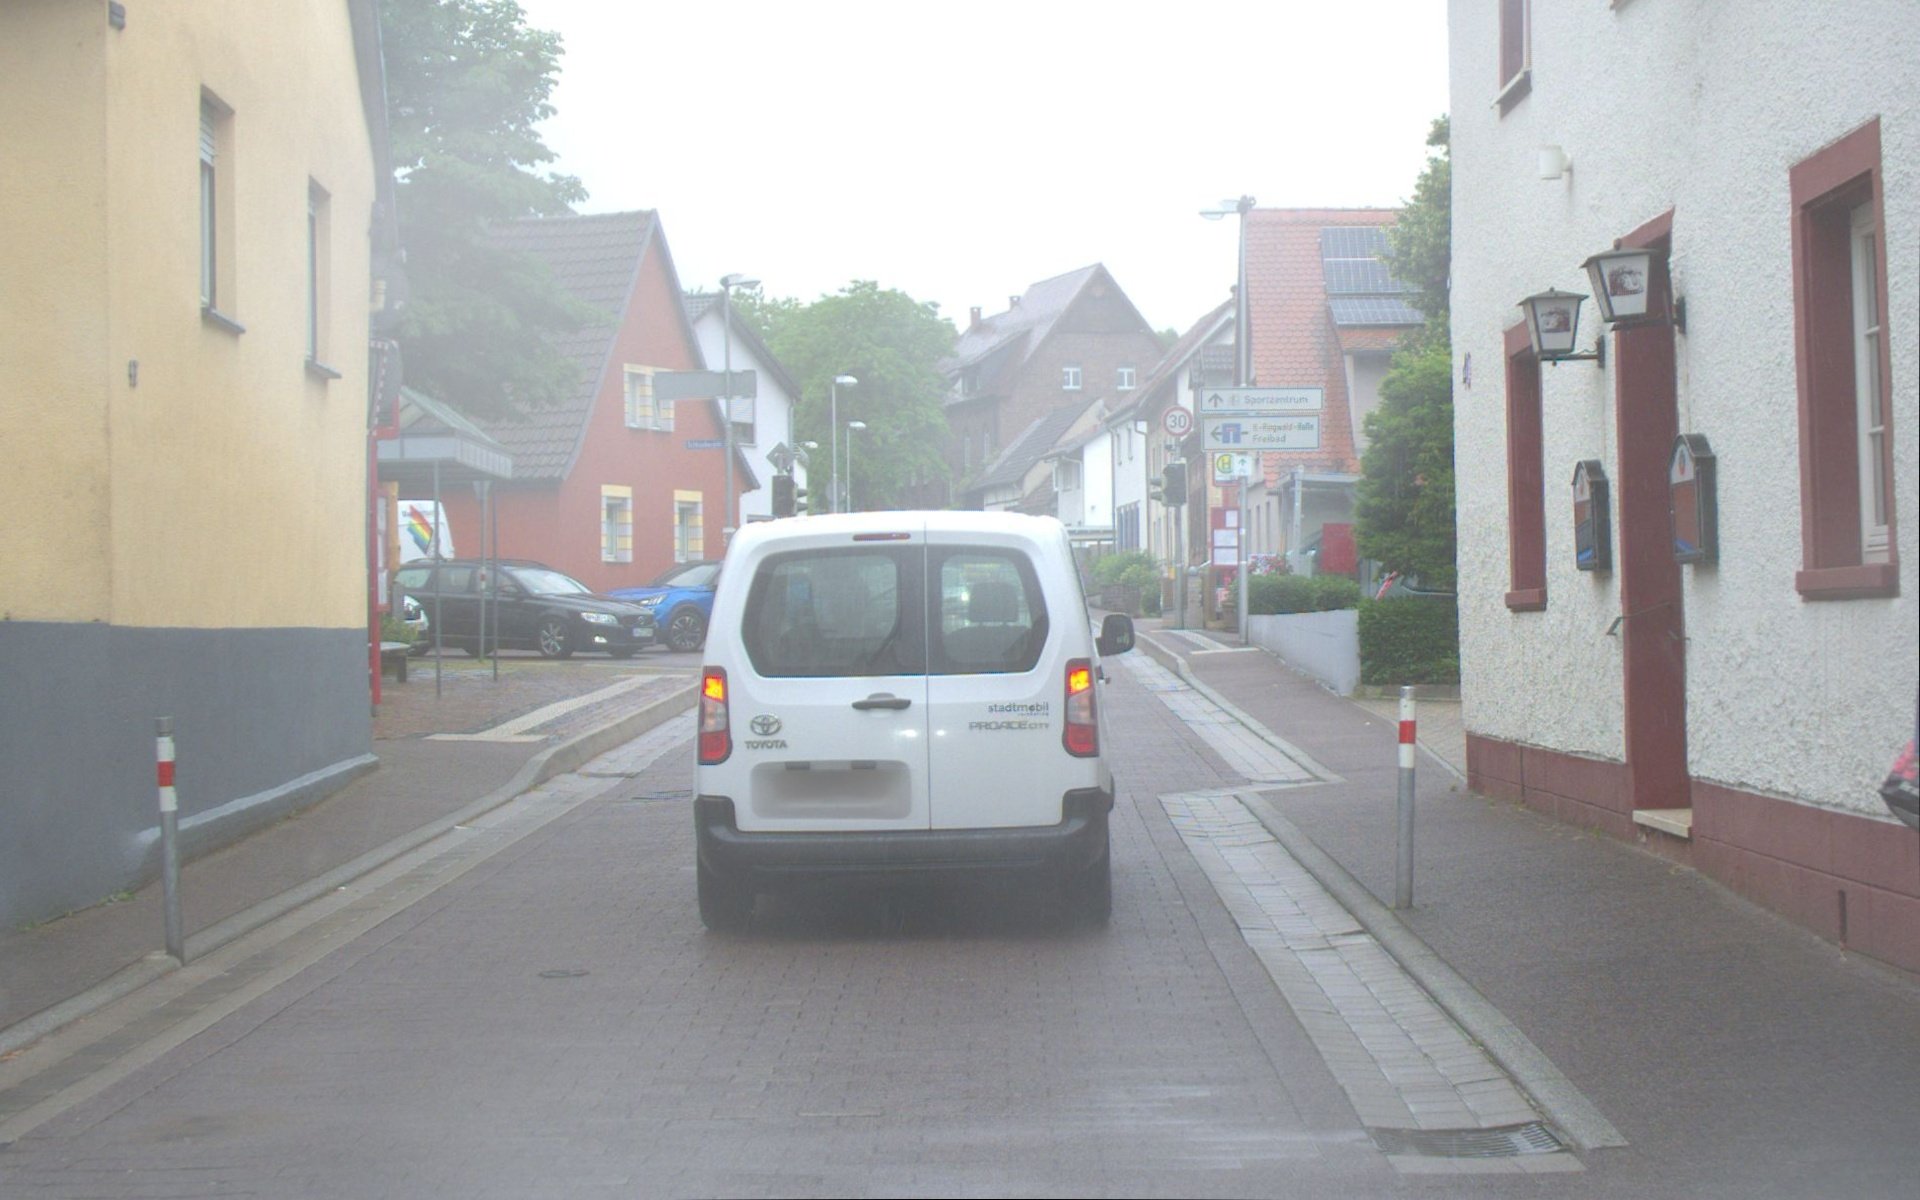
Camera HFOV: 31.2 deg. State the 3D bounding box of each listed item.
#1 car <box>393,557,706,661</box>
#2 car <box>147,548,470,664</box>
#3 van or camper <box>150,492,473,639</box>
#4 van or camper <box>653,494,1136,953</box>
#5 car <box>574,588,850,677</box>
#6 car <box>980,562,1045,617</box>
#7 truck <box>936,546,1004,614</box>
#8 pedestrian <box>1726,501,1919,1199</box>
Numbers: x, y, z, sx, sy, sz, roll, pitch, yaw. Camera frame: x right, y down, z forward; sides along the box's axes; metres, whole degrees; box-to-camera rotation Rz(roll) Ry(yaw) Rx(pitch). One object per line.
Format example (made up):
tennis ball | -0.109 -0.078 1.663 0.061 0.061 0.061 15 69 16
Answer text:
car | -6.189 0.129 51.937 4.304 1.472 1.848 1 0 19
car | -9.788 0.063 51.626 4.451 1.544 1.880 2 3 22
van or camper | -11.195 -0.584 59.293 5.149 2.427 2.208 0 1 27
van or camper | -0.304 0.505 16.079 1.943 1.845 4.000 1 0 -1
car | -4.070 0.532 56.511 3.988 1.368 2.110 -1 -1 -36
car | 1.731 -0.324 114.516 1.993 1.741 4.000 -1 -1 -1
truck | 0.352 -0.711 128.231 2.350 2.417 4.949 -1 -1 -2
pedestrian | 2.404 0.639 7.877 0.994 1.730 0.811 -1 2 -16
